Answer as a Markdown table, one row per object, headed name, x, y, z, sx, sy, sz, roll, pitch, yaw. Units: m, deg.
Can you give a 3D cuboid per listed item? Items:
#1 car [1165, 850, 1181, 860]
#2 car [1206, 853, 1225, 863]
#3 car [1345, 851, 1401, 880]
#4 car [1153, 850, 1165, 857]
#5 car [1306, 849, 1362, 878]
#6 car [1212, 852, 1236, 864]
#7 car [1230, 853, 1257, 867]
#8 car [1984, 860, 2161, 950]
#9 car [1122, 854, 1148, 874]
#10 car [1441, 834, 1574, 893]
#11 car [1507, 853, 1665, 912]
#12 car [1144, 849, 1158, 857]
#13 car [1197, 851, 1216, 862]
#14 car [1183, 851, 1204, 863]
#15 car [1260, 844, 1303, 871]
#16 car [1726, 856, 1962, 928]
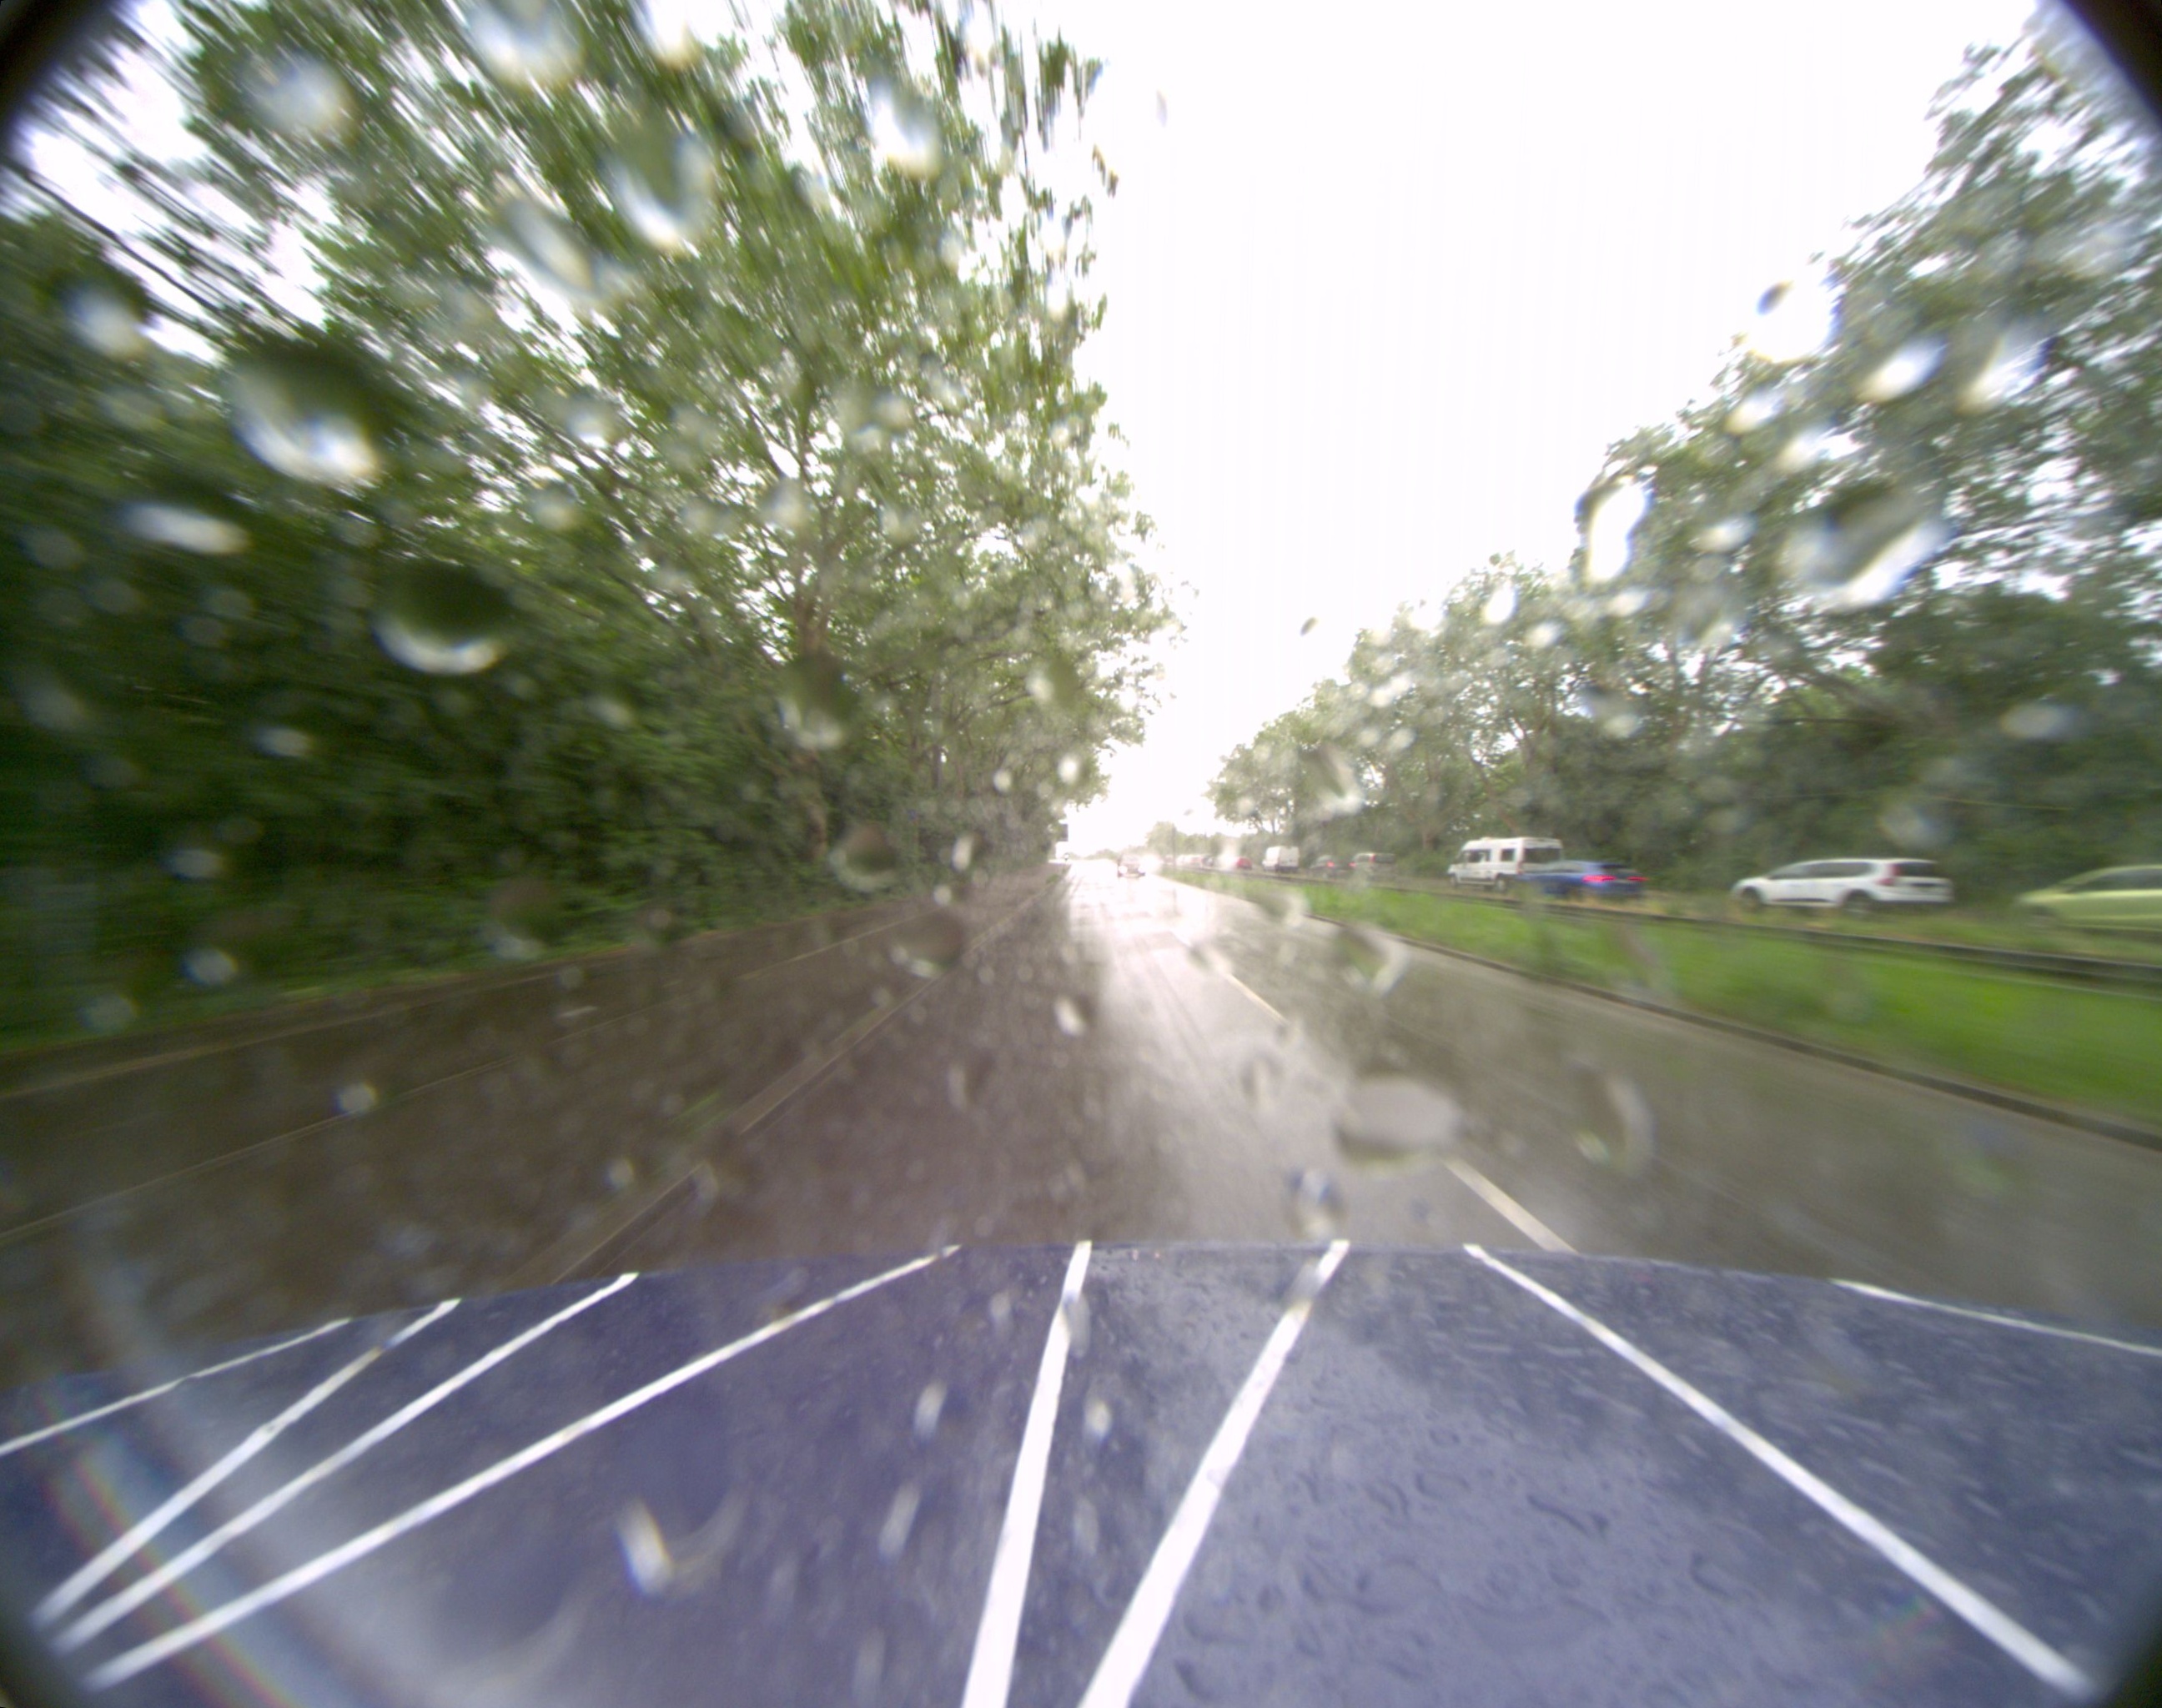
| name | x | y | z | sx | sy | sz | roll | pitch | yaw |
| --- | --- | --- | --- | --- | --- | --- | --- | --- | --- |
| car | 14.896 | 0.179 | 123.633 | 2.038 | 1.543 | 4.566 | 0 | 0 | -1 |
| car | 18.648 | 0.504 | 105.419 | 1.890 | 1.371 | 3.964 | 1 | 0 | -1 |
| car | 19.739 | 0.722 | 51.621 | 1.962 | 1.851 | 4.639 | 1 | 0 | -1 |
| car | 17.914 | -0.077 | 175.652 | 2.039 | 1.458 | 4.917 | -1 | 0 | -2 |
| car | 16.133 | 0.544 | 48.693 | 2.037 | 1.741 | 4.258 | 1 | 0 | -3 |
| car | 18.829 | 0.480 | 100.179 | 2.039 | 1.543 | 4.383 | 1 | 0 | -2 |
| car | 18.978 | 0.656 | 89.040 | 2.039 | 1.543 | 4.383 | 1 | 0 | -2 |
| car | 21.077 | 0.978 | 15.030 | 1.766 | 1.638 | 3.812 | 1 | 0 | -3 |
| car | 4.007 | 0.736 | 56.580 | 1.726 | 1.425 | 3.851 | -1 | 0 | 1 |
| car | 20.012 | 0.385 | 36.178 | 2.396 | 2.526 | 6.564 | 1 | 0 | -3 |
| car | 16.758 | 0.882 | 25.586 | 2.037 | 1.741 | 4.692 | 1 | 0 | -3 |
| car | 14.297 | -0.297 | 155.170 | 2.039 | 1.543 | 4.995 | 1 | 0 | -2 |
| car | 18.462 | 0.360 | 111.793 | 1.890 | 1.641 | 4.368 | 1 | 0 | -1 |
| car | 15.271 | 0.389 | 103.464 | 1.983 | 1.558 | 4.767 | 1 | 0 | -2 |
| car | 19.296 | 0.290 | 73.503 | 2.336 | 2.432 | 6.137 | 1 | 1 | -1 |
| car | 20.564 | 0.934 | 20.814 | 1.755 | 1.718 | 4.530 | 1 | 0 | -3 |
